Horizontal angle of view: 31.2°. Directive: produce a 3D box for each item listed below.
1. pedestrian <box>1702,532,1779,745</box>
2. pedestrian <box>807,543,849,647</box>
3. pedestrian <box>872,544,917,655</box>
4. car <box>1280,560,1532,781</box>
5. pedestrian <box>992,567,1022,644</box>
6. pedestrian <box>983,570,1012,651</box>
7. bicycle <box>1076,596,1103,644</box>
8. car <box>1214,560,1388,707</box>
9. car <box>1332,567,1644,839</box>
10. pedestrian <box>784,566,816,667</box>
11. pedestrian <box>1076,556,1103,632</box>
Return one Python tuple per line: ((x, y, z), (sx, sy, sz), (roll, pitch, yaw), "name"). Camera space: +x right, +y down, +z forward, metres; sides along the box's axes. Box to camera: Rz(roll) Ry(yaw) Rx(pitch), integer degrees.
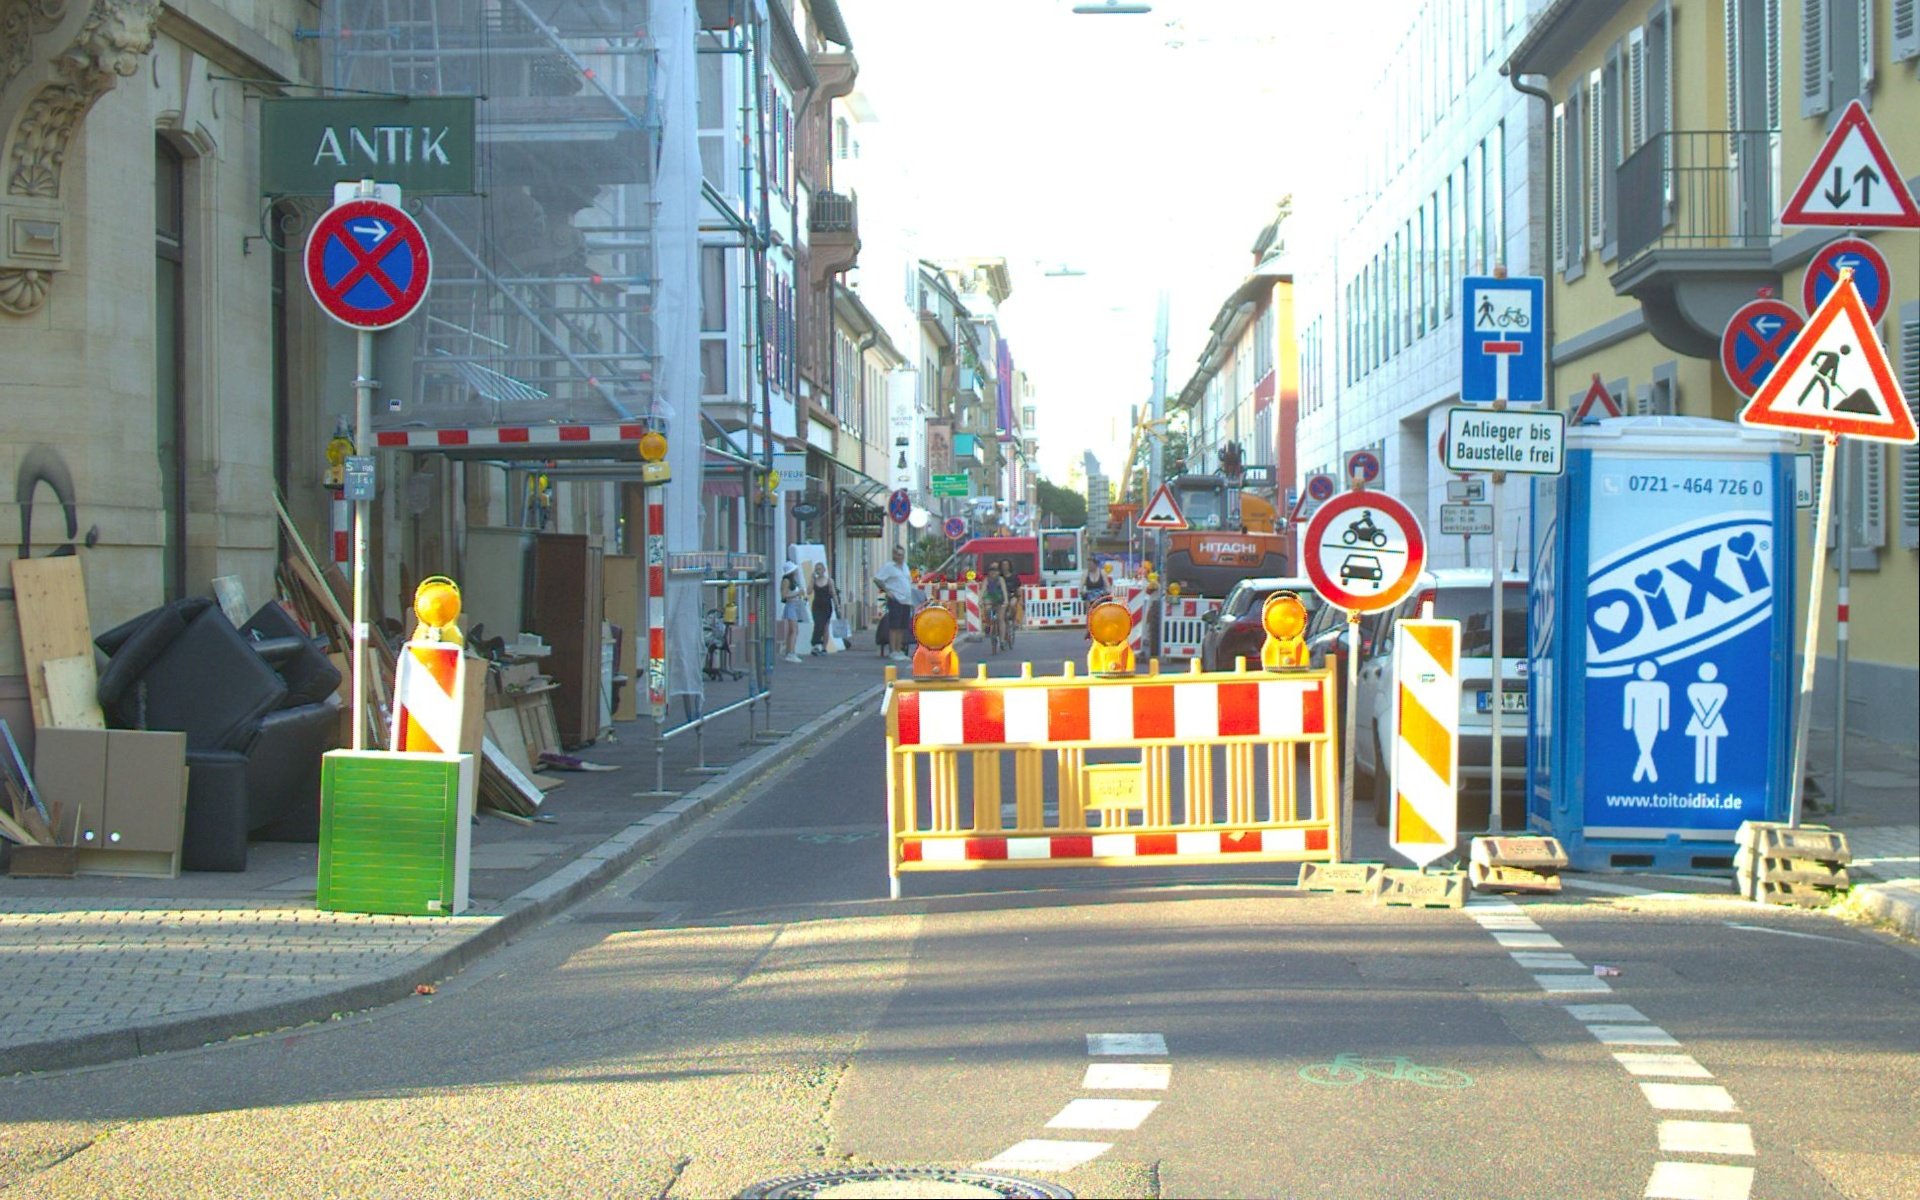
((5.896, 0.282, 25.982), (0.467, 1.589, 0.673), (0, 1, 5), "pedestrian")
((-2.196, -0.083, 57.356), (0.676, 1.727, 0.700), (0, 0, -1), "pedestrian")
((-1.044, -0.016, 55.101), (0.504, 1.758, 0.512), (-1, 1, -39), "pedestrian")
((3.286, 0.467, 25.876), (1.540, 1.515, 3.979), (0, 1, 3), "car")
((0.911, 0.108, 65.959), (0.504, 1.456, 0.512), (0, 1, 8), "pedestrian")
((0.688, 0.189, 62.789), (0.504, 1.456, 0.512), (0, 1, 3), "pedestrian")
((2.491, 0.376, 66.106), (0.504, 0.881, 1.477), (0, 1, 2), "bicycle")
((3.704, 0.334, 37.713), (1.718, 1.515, 3.221), (0, 1, 3), "car")
((3.193, 0.570, 21.260), (1.540, 1.515, 3.221), (1, 1, 3), "car")
((-2.473, 0.251, 53.108), (0.343, 1.561, 0.420), (0, 0, 24), "pedestrian")
((2.484, -0.112, 66.045), (0.504, 1.456, 0.512), (0, 1, 3), "pedestrian")
